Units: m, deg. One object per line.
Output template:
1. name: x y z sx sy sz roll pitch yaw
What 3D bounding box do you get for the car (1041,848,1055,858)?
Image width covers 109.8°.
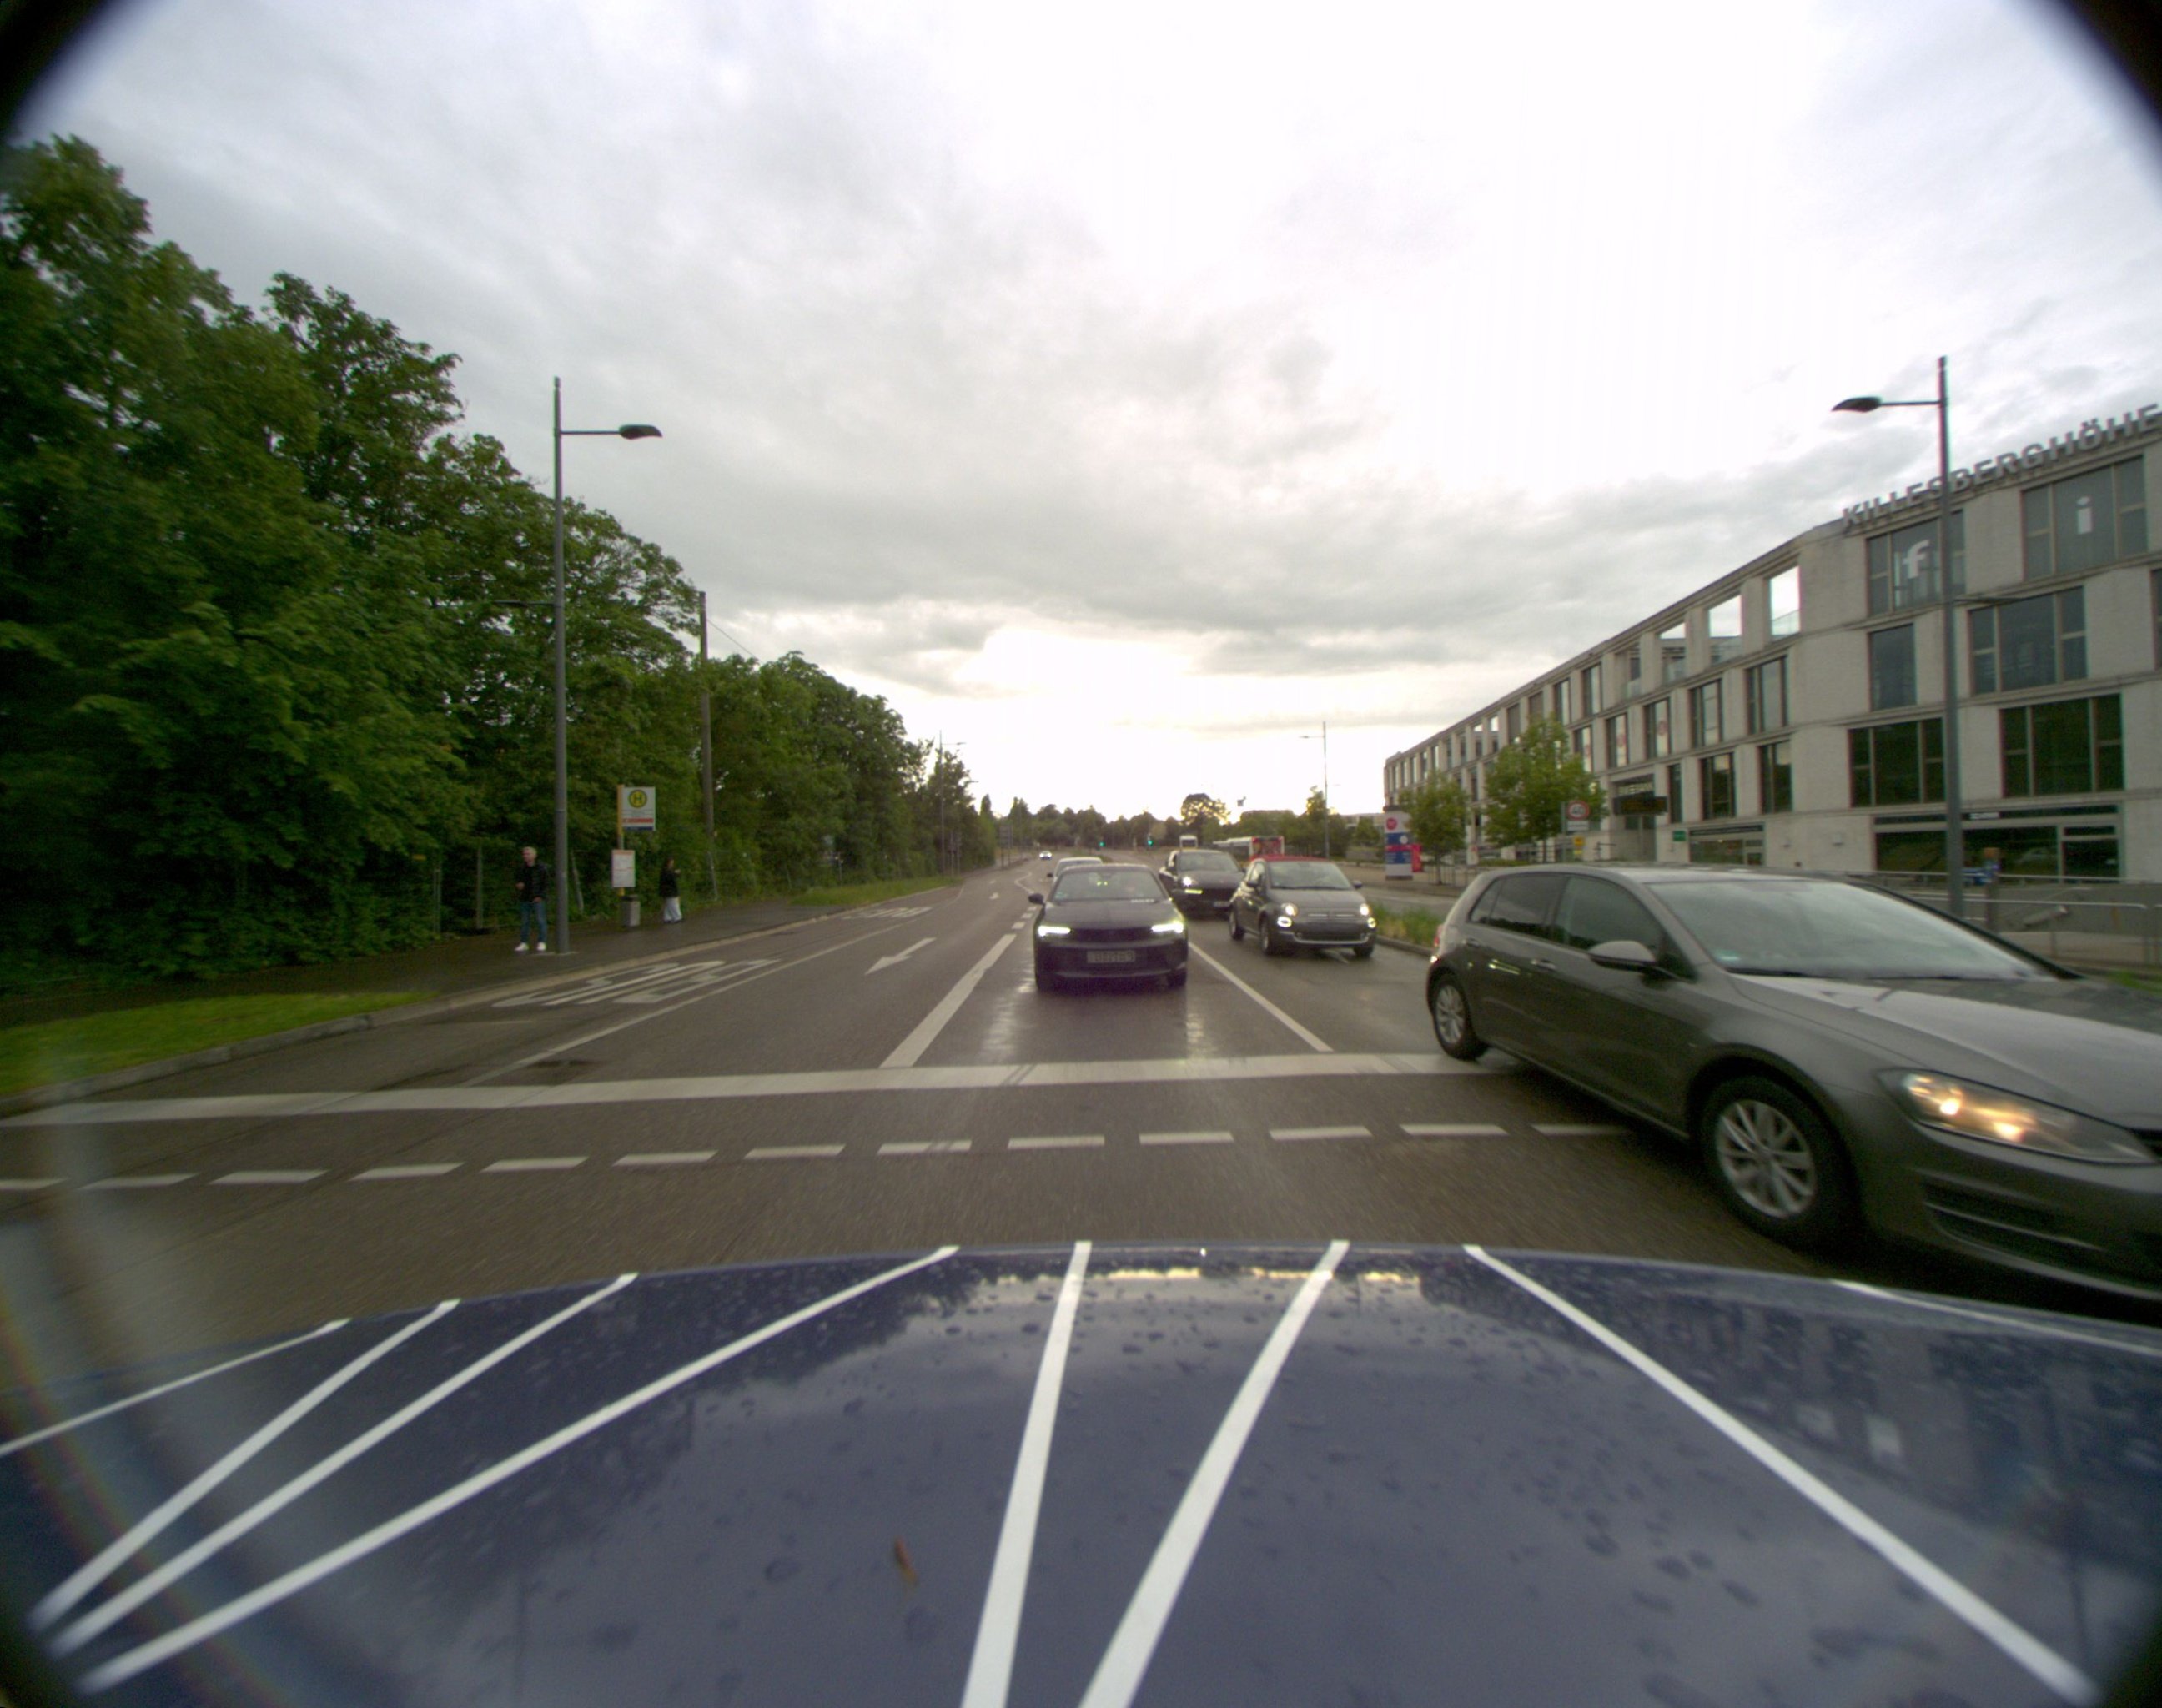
1. car: -6.063 -0.211 138.444 2.000 1.805 3.996 -2 1 -10

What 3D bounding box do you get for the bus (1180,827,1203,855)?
1. bus: 18.166 -2.152 123.606 2.757 4.129 19.359 -2 1 11

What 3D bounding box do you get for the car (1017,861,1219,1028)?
1. car: 0.381 0.897 9.713 1.901 1.456 4.767 -2 1 1

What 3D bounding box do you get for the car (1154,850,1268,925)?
1. car: 3.121 0.735 19.260 1.934 1.649 4.617 -1 0 -2

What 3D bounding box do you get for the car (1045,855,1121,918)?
1. car: 0.144 0.841 22.120 1.901 1.524 4.768 -2 1 2

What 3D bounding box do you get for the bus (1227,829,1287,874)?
1. bus: 13.746 -0.212 60.116 2.759 3.194 9.207 -2 1 2

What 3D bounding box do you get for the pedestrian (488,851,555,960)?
1. pedestrian: -10.188 0.912 13.851 0.742 1.937 0.597 -1 1 1

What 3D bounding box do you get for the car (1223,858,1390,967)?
1. car: 3.483 0.828 12.374 1.631 1.473 3.506 -1 0 0

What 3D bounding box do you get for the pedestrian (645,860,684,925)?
1. pedestrian: -10.629 0.975 19.396 0.588 1.618 0.661 -1 1 1

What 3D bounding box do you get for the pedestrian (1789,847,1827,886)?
1. pedestrian: 30.541 0.524 31.922 0.765 1.596 0.913 -1 1 -22

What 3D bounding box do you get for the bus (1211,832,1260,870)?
1. bus: 14.007 -0.326 69.622 2.693 3.163 9.913 -2 1 2

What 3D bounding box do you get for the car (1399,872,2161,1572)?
1. car: 3.419 0.899 3.845 1.820 1.473 4.376 -1 0 1
